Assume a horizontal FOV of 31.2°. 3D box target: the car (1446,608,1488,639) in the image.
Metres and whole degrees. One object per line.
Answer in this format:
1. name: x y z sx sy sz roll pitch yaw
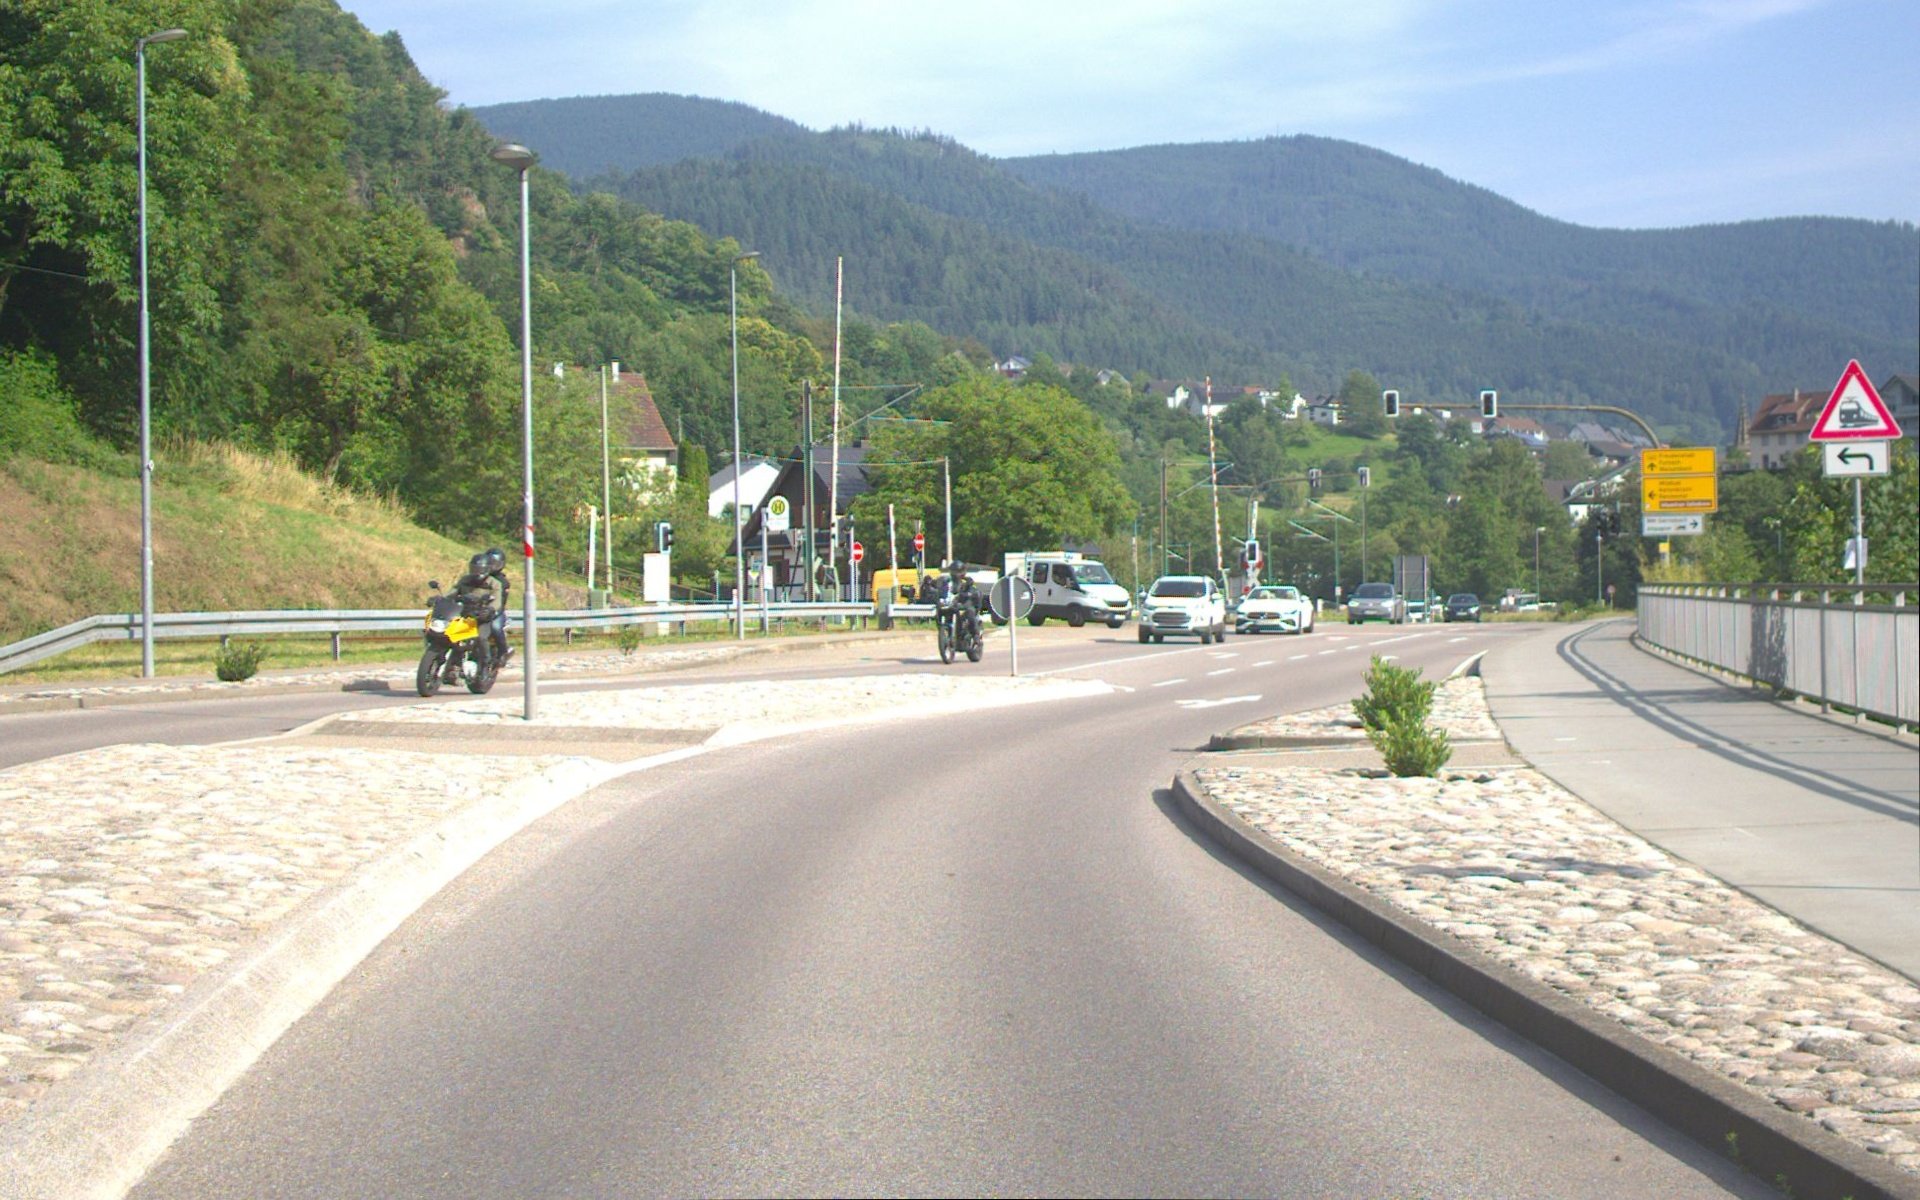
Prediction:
1. car: 24.621 1.141 166.819 1.774 1.412 3.783 -2 -1 11

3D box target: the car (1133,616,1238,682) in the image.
1. car: 5.509 1.206 83.621 1.765 1.555 3.997 1 -1 16

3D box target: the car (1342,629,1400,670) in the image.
1. car: 15.622 1.884 130.591 1.759 1.516 4.202 1 -1 12

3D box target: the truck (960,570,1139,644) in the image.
1. truck: 2.842 0.206 110.817 5.999 2.259 1.995 1 1 45

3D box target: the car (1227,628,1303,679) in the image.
1. car: 8.946 1.566 100.455 1.783 1.395 4.824 1 -1 10
